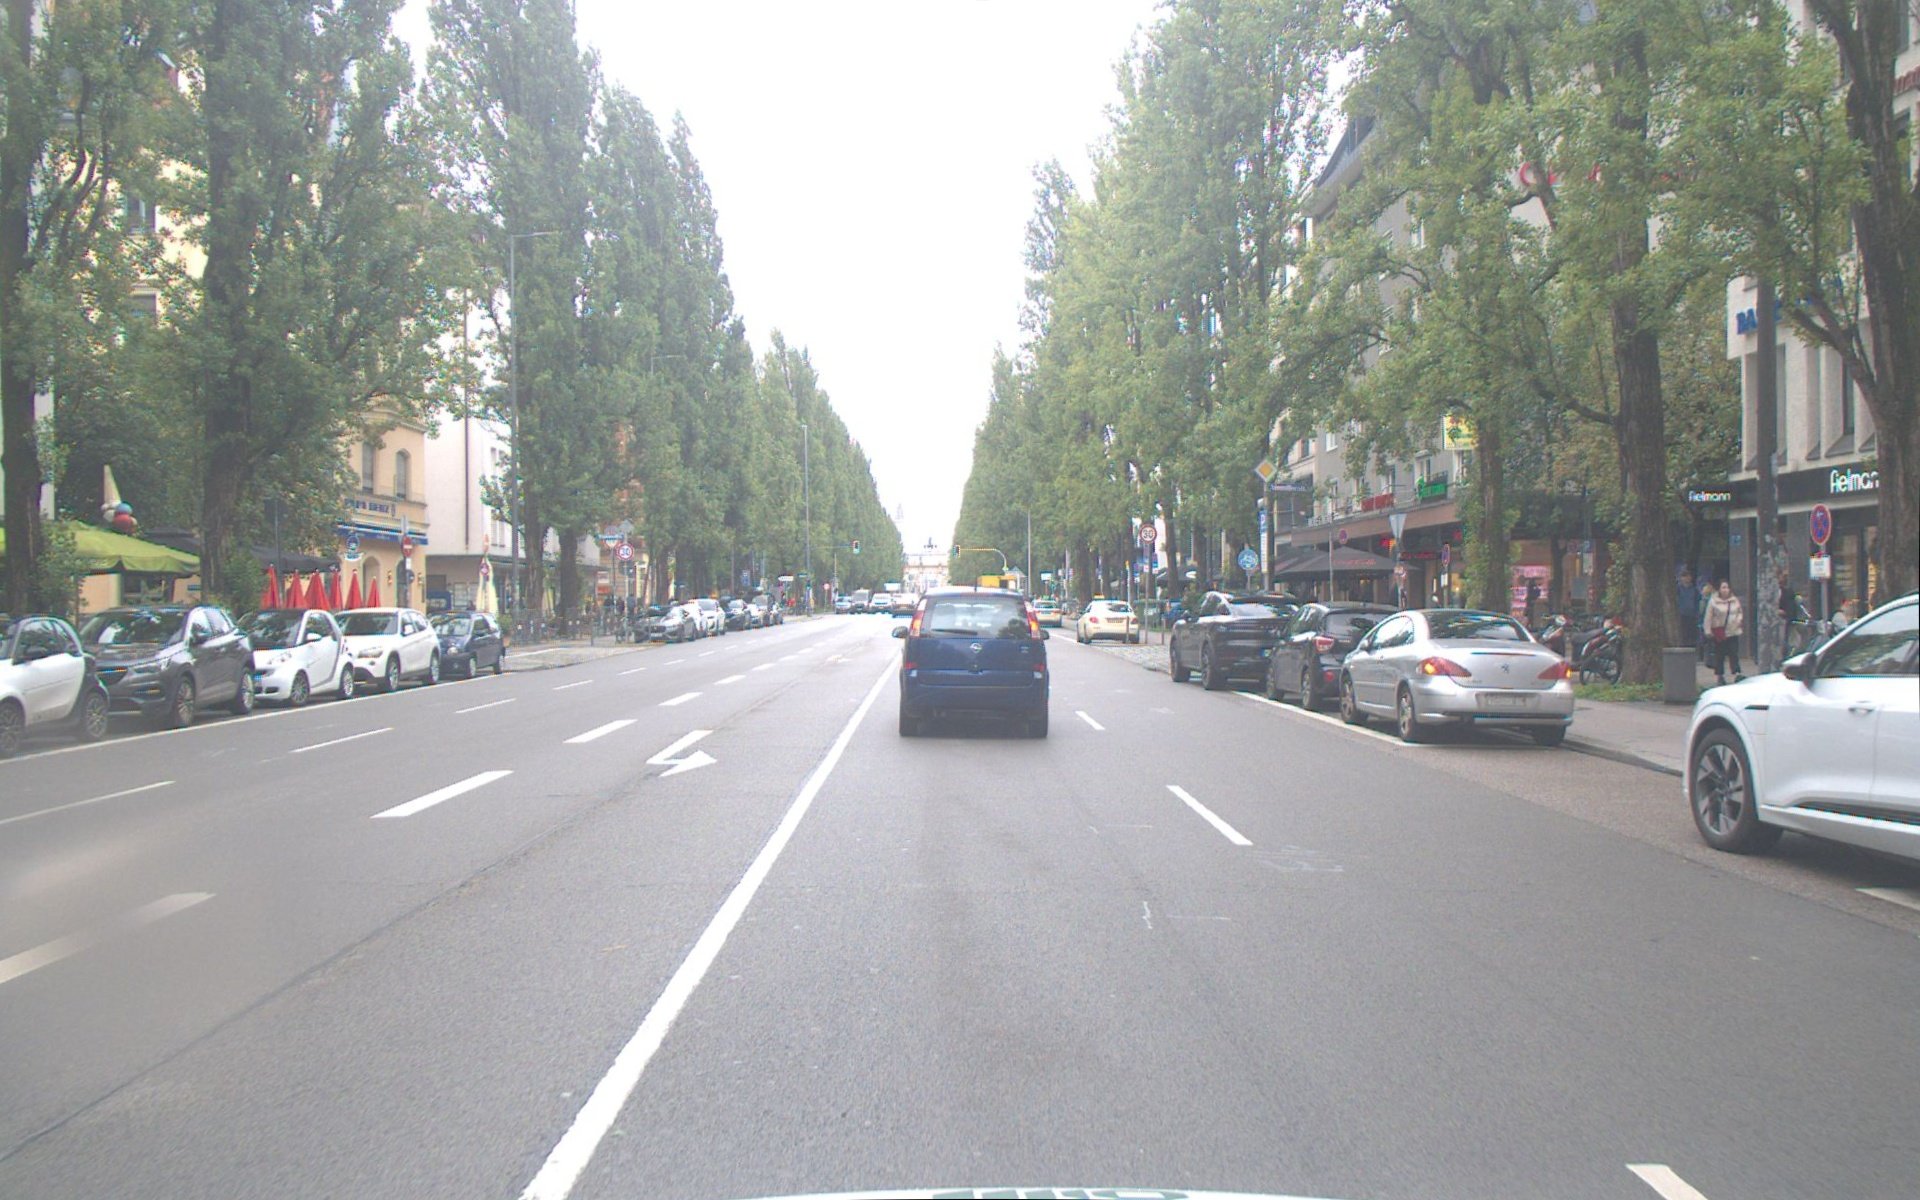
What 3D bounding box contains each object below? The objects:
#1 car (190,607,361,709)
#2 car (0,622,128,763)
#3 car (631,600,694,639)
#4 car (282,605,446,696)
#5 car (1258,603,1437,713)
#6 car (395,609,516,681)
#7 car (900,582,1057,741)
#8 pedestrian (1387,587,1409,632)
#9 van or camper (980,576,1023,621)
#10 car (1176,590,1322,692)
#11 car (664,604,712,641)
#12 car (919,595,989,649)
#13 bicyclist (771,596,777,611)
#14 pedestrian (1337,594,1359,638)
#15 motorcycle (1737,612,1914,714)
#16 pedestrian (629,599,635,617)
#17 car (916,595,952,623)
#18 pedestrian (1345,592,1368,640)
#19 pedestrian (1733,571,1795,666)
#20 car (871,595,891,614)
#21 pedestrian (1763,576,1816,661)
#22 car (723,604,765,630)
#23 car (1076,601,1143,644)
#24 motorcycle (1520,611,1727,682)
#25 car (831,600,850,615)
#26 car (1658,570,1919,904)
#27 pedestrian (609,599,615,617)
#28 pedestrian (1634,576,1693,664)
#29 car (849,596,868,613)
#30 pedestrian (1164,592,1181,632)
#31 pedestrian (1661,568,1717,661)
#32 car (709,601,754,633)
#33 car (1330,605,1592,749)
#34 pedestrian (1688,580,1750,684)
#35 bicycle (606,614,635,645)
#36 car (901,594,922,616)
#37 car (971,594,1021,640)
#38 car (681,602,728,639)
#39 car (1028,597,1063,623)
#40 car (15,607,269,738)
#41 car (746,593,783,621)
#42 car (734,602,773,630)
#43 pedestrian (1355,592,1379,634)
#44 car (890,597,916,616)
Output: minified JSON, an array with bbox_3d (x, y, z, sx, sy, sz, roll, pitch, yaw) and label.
[{"bbox_3d":[-11.191,0.911,27.217,1.540,1.561,2.923,-1,0,1],"label":"car"},{"bbox_3d":[-11.003,1.004,18.859,1.598,1.453,2.982,-1,0,-2],"label":"car"},{"bbox_3d":[-11.453,0.734,63.825,1.793,1.445,3.810,-1,0,-1],"label":"car"},{"bbox_3d":[-11.151,0.898,31.237,1.798,1.573,4.084,-1,0,-3],"label":"car"},{"bbox_3d":[5.535,0.789,24.022,1.648,1.439,3.581,1,0,-2],"label":"car"},{"bbox_3d":[-11.061,0.948,36.481,1.553,1.472,3.391,-1,0,1],"label":"car"},{"bbox_3d":[0.131,0.646,19.438,1.647,1.670,3.998,0,0,-2],"label":"car"},{"bbox_3d":[15.238,0.323,57.577,0.627,1.553,0.484,-1,0,-1],"label":"pedestrian"},{"bbox_3d":[2.497,-0.102,101.232,2.426,2.626,5.843,-1,0,-1],"label":"van or camper"},{"bbox_3d":[4.954,0.665,28.876,1.761,1.622,4.103,1,0,-1],"label":"car"},{"bbox_3d":[-11.446,0.938,69.832,1.515,1.478,3.456,-1,0,-1],"label":"car"},{"bbox_3d":[-0.214,0.619,49.591,1.953,1.524,3.998,-1,0,-2],"label":"car"},{"bbox_3d":[-22.501,0.404,200.053,0.607,1.743,0.563,-1,0,-8],"label":"bicyclist"},{"bbox_3d":[13.718,0.555,58.512,0.627,1.553,0.484,-1,0,-1],"label":"pedestrian"},{"bbox_3d":[10.378,0.741,19.863,1.795,1.159,0.695,-1,-1,-7],"label":"motorcycle"},{"bbox_3d":[-20.252,0.514,102.200,0.283,1.109,0.258,-1,0,4],"label":"pedestrian"},{"bbox_3d":[-1.501,0.518,93.225,1.953,1.524,3.998,-1,0,-2],"label":"car"},{"bbox_3d":[12.926,0.512,53.963,0.627,1.553,0.484,-1,0,-1],"label":"pedestrian"},{"bbox_3d":[15.293,0.351,31.472,0.713,1.781,0.858,1,-1,-6],"label":"pedestrian"},{"bbox_3d":[-7.515,0.427,156.877,1.798,1.706,3.777,-1,0,-2],"label":"car"},{"bbox_3d":[16.392,0.364,32.696,0.641,1.655,0.704,-1,0,-4],"label":"pedestrian"},{"bbox_3d":[-12.049,0.944,92.566,1.922,1.424,3.777,-1,0,-2],"label":"car"},{"bbox_3d":[5.008,0.734,55.995,1.858,1.386,3.899,-1,0,-1],"label":"car"},{"bbox_3d":[11.142,0.766,27.814,3.061,1.109,1.191,-1,0,-9],"label":"motorcycle"},{"bbox_3d":[-13.295,0.842,183.640,1.922,1.576,3.777,-1,0,-2],"label":"car"},{"bbox_3d":[5.617,0.684,8.678,1.790,1.649,4.746,1,0,-2],"label":"car"},{"bbox_3d":[-21.609,0.496,102.612,0.283,1.109,0.258,-1,0,4],"label":"pedestrian"},{"bbox_3d":[13.369,0.380,31.448,0.723,1.655,0.763,1,-1,-15],"label":"pedestrian"},{"bbox_3d":[-10.370,0.450,168.915,1.798,1.770,3.777,-1,0,-2],"label":"car"},{"bbox_3d":[8.923,0.505,69.417,0.640,1.655,0.705,1,-1,4],"label":"pedestrian"},{"bbox_3d":[14.648,0.281,33.239,0.777,1.843,0.682,-1,0,-3],"label":"pedestrian"},{"bbox_3d":[-11.934,0.870,86.584,1.922,1.557,3.998,-1,0,-2],"label":"car"},{"bbox_3d":[5.600,0.793,19.004,1.636,1.431,4.126,1,0,-2],"label":"car"},{"bbox_3d":[12.080,0.506,26.341,0.640,1.629,0.704,1,-1,-1],"label":"pedestrian"},{"bbox_3d":[-11.942,1.020,58.205,0.652,1.023,2.460,-1,0,-4],"label":"bicycle"},{"bbox_3d":[-4.126,0.419,140.834,1.798,1.792,3.777,-1,0,-2],"label":"car"},{"bbox_3d":[1.321,0.613,62.167,1.672,1.601,3.999,-1,0,-2],"label":"car"},{"bbox_3d":[-11.509,0.918,74.684,1.620,1.589,3.456,-1,0,-1],"label":"car"},{"bbox_3d":[4.649,0.544,90.711,1.635,1.376,4.103,-1,0,-1],"label":"car"},{"bbox_3d":[-11.147,0.914,22.875,1.805,1.592,4.174,-1,0,-6],"label":"car"},{"bbox_3d":[-12.201,0.431,103.440,1.953,1.691,3.998,-1,0,-2],"label":"car"},{"bbox_3d":[-12.122,0.906,97.260,1.922,1.576,3.777,-1,0,-2],"label":"car"},{"bbox_3d":[14.935,0.472,60.703,0.670,1.494,0.678,-1,0,-1],"label":"pedestrian"},{"bbox_3d":[-4.395,0.514,128.003,1.922,1.424,3.777,-1,0,-2],"label":"car"}]
